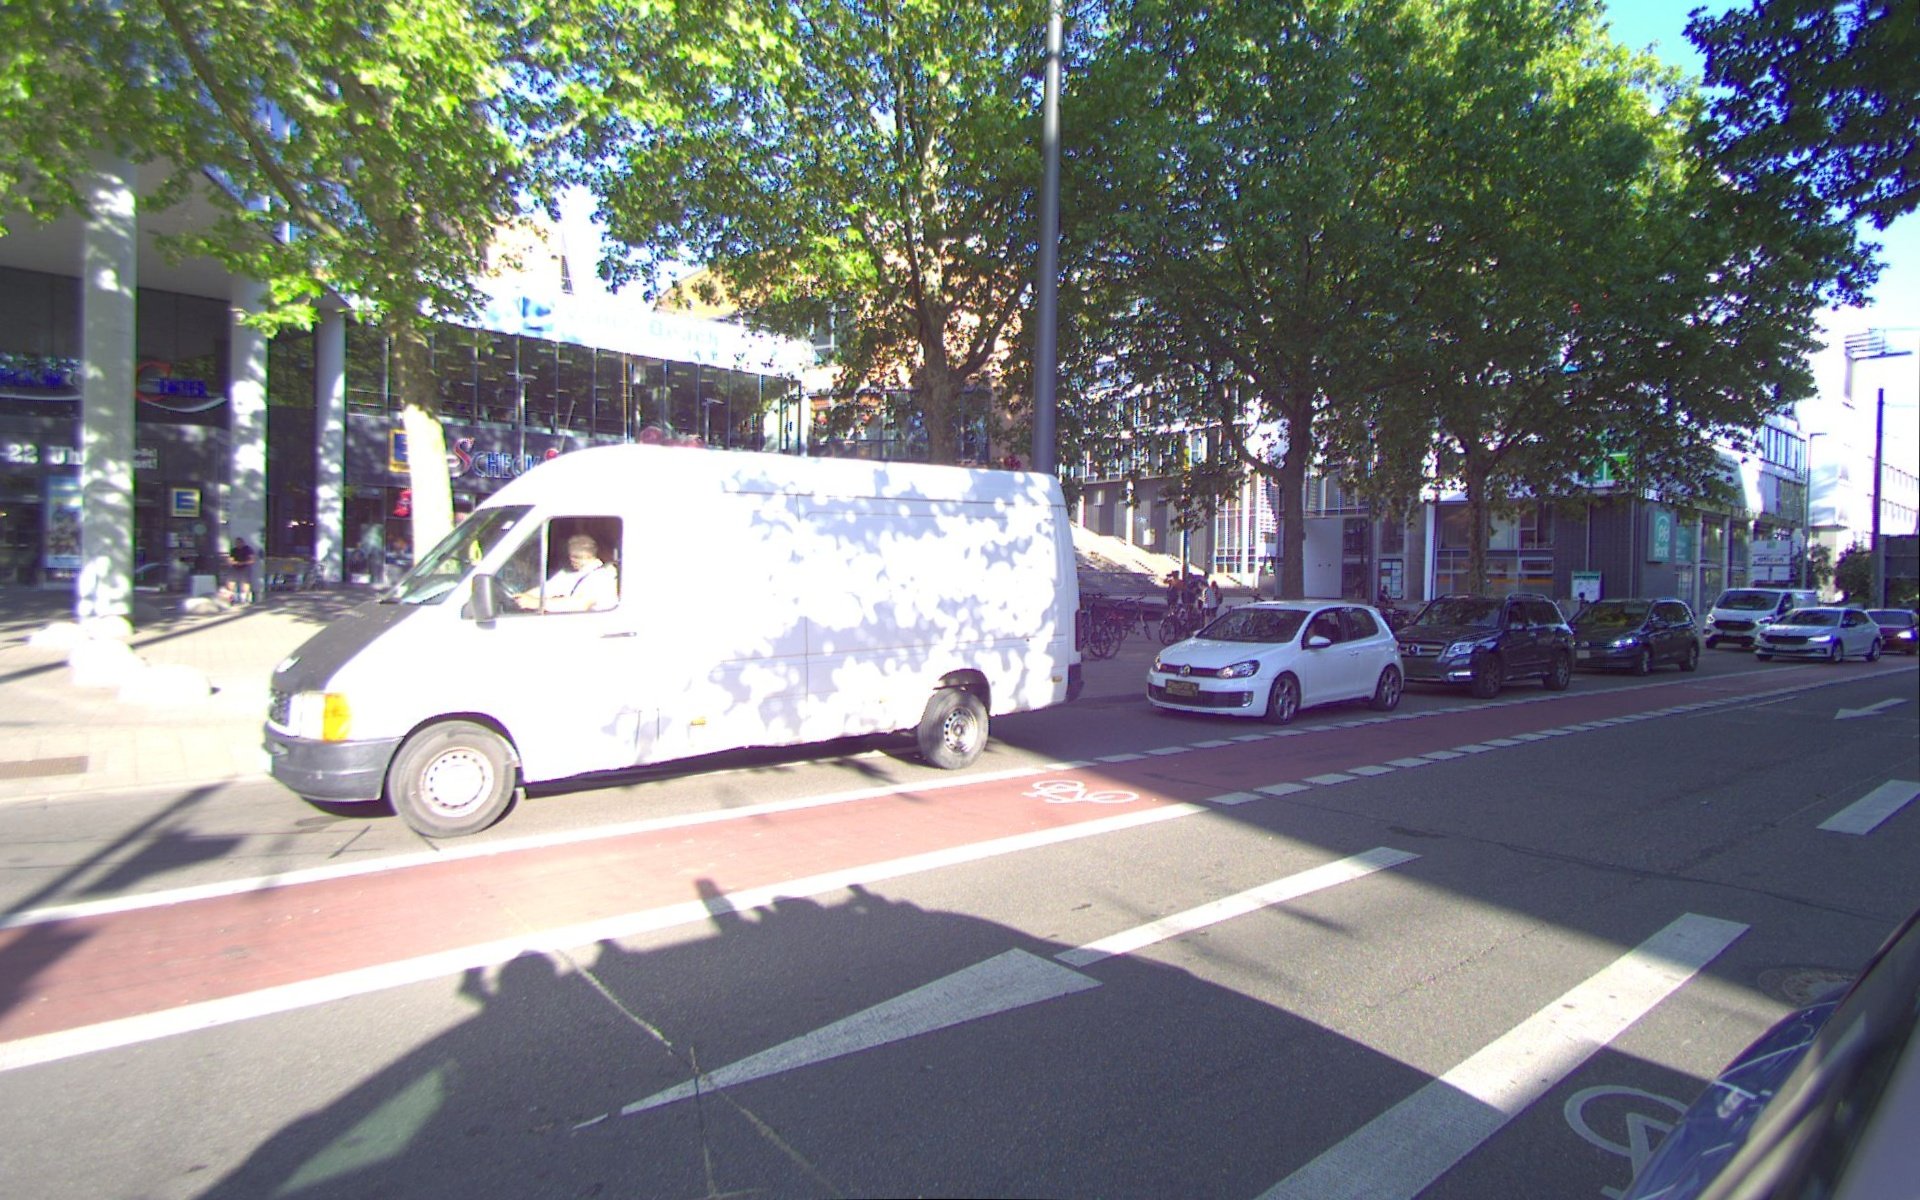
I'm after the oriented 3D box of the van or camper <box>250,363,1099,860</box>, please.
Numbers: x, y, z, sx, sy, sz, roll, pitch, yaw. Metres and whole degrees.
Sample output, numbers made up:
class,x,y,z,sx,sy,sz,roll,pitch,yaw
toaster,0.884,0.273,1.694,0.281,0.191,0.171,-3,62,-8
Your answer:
class,x,y,z,sx,sy,sz,roll,pitch,yaw
van or camper,-1.788,0.031,8.229,6.383,2.647,2.004,0,1,-40

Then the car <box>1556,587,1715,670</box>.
class,x,y,z,sx,sy,sz,roll,pitch,yaw
car,14.922,0.557,22.281,4.311,1.656,1.710,0,0,-39

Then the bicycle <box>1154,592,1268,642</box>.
class,x,y,z,sx,sy,sz,roll,pitch,yaw
bicycle,6.560,0.411,26.783,1.124,1.097,3.342,0,2,-23

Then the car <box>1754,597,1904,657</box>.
class,x,y,z,sx,sy,sz,roll,pitch,yaw
car,23.462,0.679,27.302,4.111,1.508,1.839,0,0,-30

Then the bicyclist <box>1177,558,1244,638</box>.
class,x,y,z,sx,sy,sz,roll,pitch,yaw
bicyclist,6.594,-0.072,26.698,1.132,2.039,1.301,0,1,-24

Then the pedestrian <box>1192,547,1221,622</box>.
class,x,y,z,sx,sy,sz,roll,pitch,yaw
pedestrian,8.949,-0.573,36.764,0.967,2.681,0.897,0,0,18

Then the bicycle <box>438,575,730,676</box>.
class,x,y,z,sx,sy,sz,roll,pitch,yaw
bicycle,-5.146,0.291,14.139,3.744,1.236,0.758,-2,1,-35

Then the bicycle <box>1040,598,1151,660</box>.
class,x,y,z,sx,sy,sz,roll,pitch,yaw
bicycle,2.572,0.519,19.057,2.295,1.073,0.682,-1,1,-39

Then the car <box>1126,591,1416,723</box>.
class,x,y,z,sx,sy,sz,roll,pitch,yaw
car,4.074,0.622,12.990,3.914,1.446,1.639,0,0,-38

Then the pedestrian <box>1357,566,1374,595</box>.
class,x,y,z,sx,sy,sz,roll,pitch,yaw
pedestrian,28.278,-1.341,70.517,0.860,2.039,0.796,0,0,-41

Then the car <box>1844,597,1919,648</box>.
class,x,y,z,sx,sy,sz,roll,pitch,yaw
car,29.676,0.680,31.985,4.118,1.508,1.836,0,-1,-38

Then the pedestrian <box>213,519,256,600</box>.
class,x,y,z,sx,sy,sz,roll,pitch,yaw
pedestrian,-18.738,-1.025,26.155,0.843,2.039,1.024,0,0,-34

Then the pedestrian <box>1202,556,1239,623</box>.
class,x,y,z,sx,sy,sz,roll,pitch,yaw
pedestrian,8.830,-0.360,34.344,0.884,2.261,0.845,0,0,-19

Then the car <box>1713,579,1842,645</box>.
class,x,y,z,sx,sy,sz,roll,pitch,yaw
car,26.652,0.351,32.925,5.808,1.989,1.934,0,0,-37

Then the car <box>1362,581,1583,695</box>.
class,x,y,z,sx,sy,sz,roll,pitch,yaw
car,8.557,0.541,16.760,4.174,1.656,1.768,0,0,-40

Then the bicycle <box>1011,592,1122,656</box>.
class,x,y,z,sx,sy,sz,roll,pitch,yaw
bicycle,2.123,0.435,19.902,2.355,1.177,0.750,-1,0,-40

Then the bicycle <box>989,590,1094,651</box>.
class,x,y,z,sx,sy,sz,roll,pitch,yaw
bicycle,1.670,0.385,20.440,2.263,1.177,0.671,-1,0,-38

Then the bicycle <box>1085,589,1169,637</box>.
class,x,y,z,sx,sy,sz,roll,pitch,yaw
bicycle,4.493,0.312,27.114,2.653,1.215,0.698,-1,1,-41

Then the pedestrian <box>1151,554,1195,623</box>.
class,x,y,z,sx,sy,sz,roll,pitch,yaw
pedestrian,7.170,-0.380,34.049,1.195,2.276,1.052,0,0,-3
